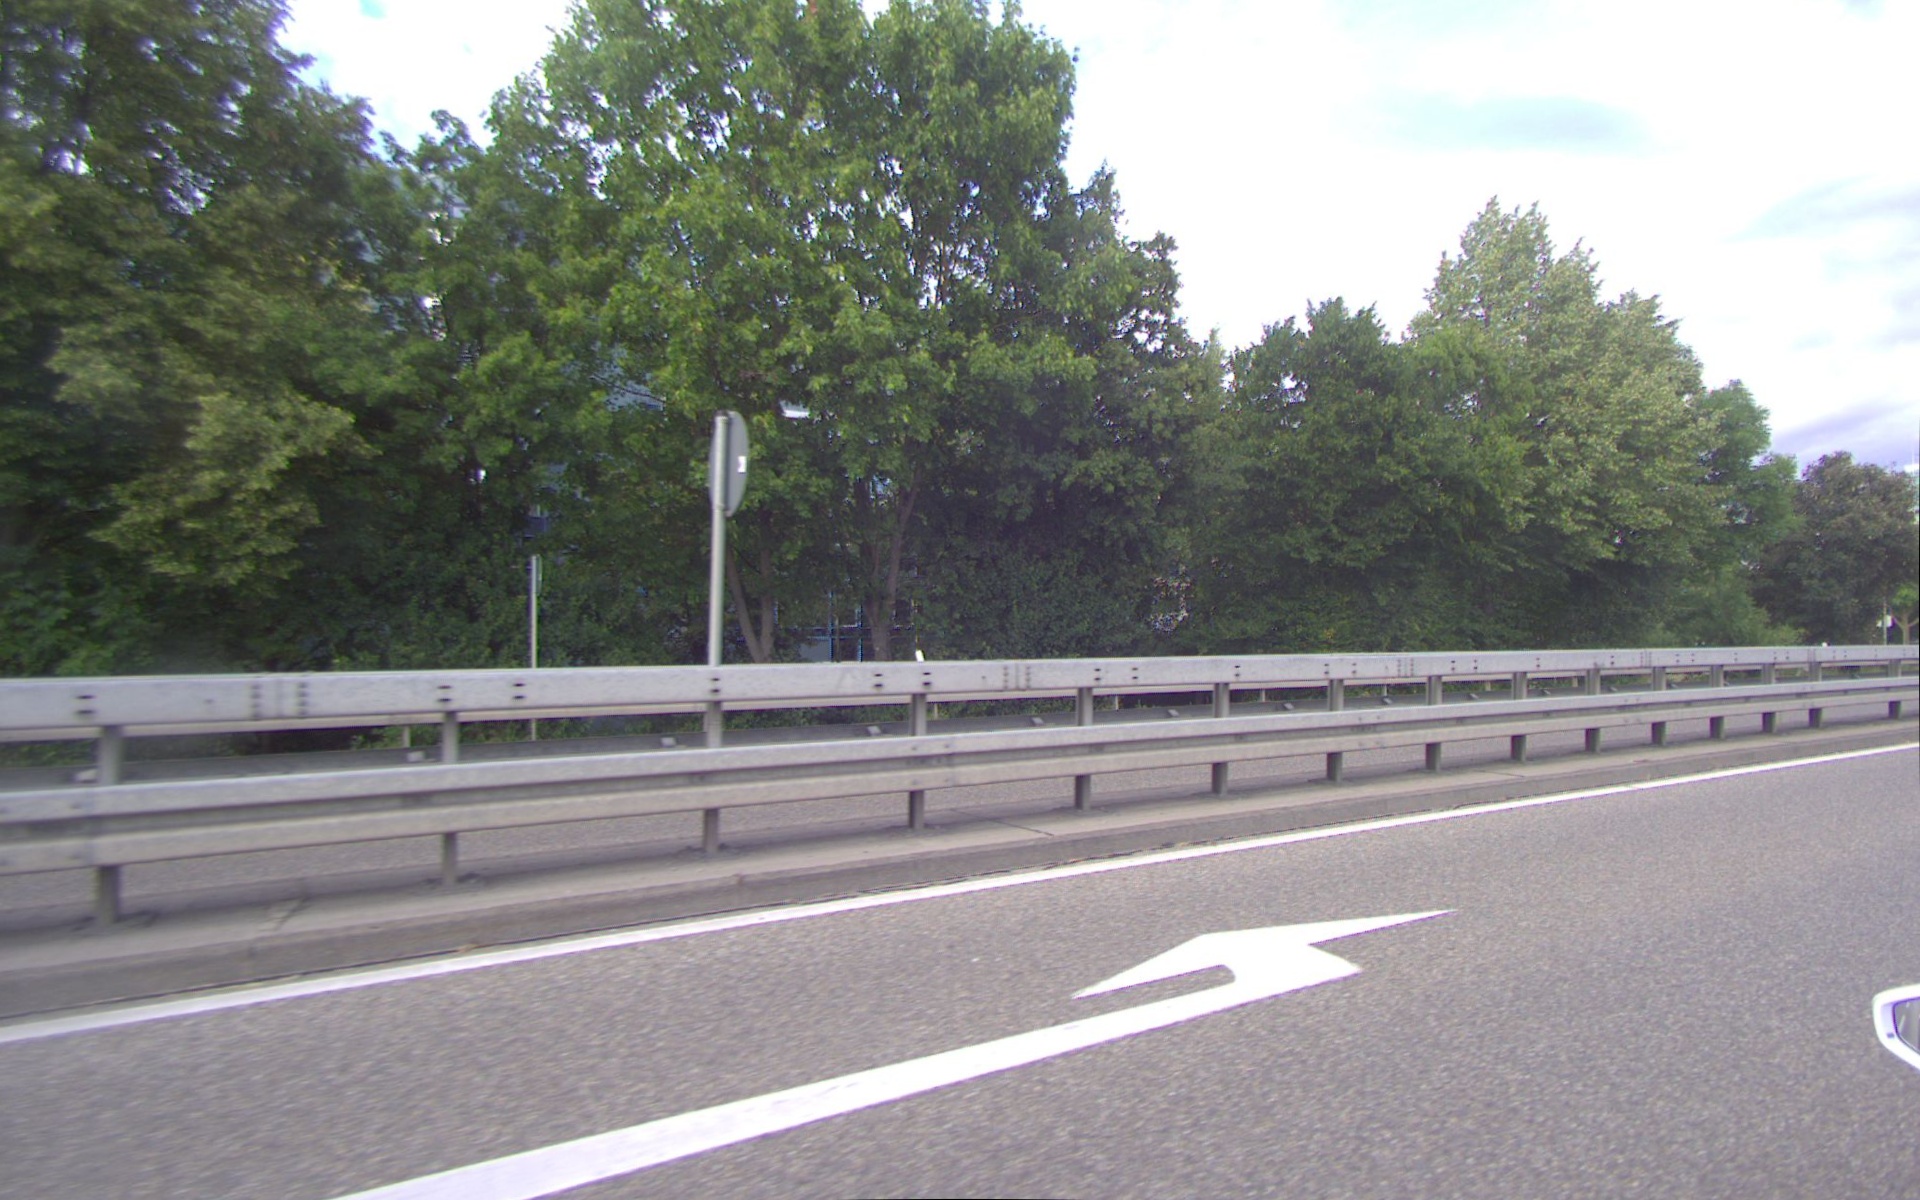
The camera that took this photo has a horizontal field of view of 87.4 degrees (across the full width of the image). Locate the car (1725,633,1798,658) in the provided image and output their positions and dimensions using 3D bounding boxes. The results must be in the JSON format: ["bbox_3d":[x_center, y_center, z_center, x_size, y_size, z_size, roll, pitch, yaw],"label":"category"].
[{"bbox_3d":[54.016,3.038,67.725,1.721,1.560,3.676,1,-1,-42],"label":"car"}]
